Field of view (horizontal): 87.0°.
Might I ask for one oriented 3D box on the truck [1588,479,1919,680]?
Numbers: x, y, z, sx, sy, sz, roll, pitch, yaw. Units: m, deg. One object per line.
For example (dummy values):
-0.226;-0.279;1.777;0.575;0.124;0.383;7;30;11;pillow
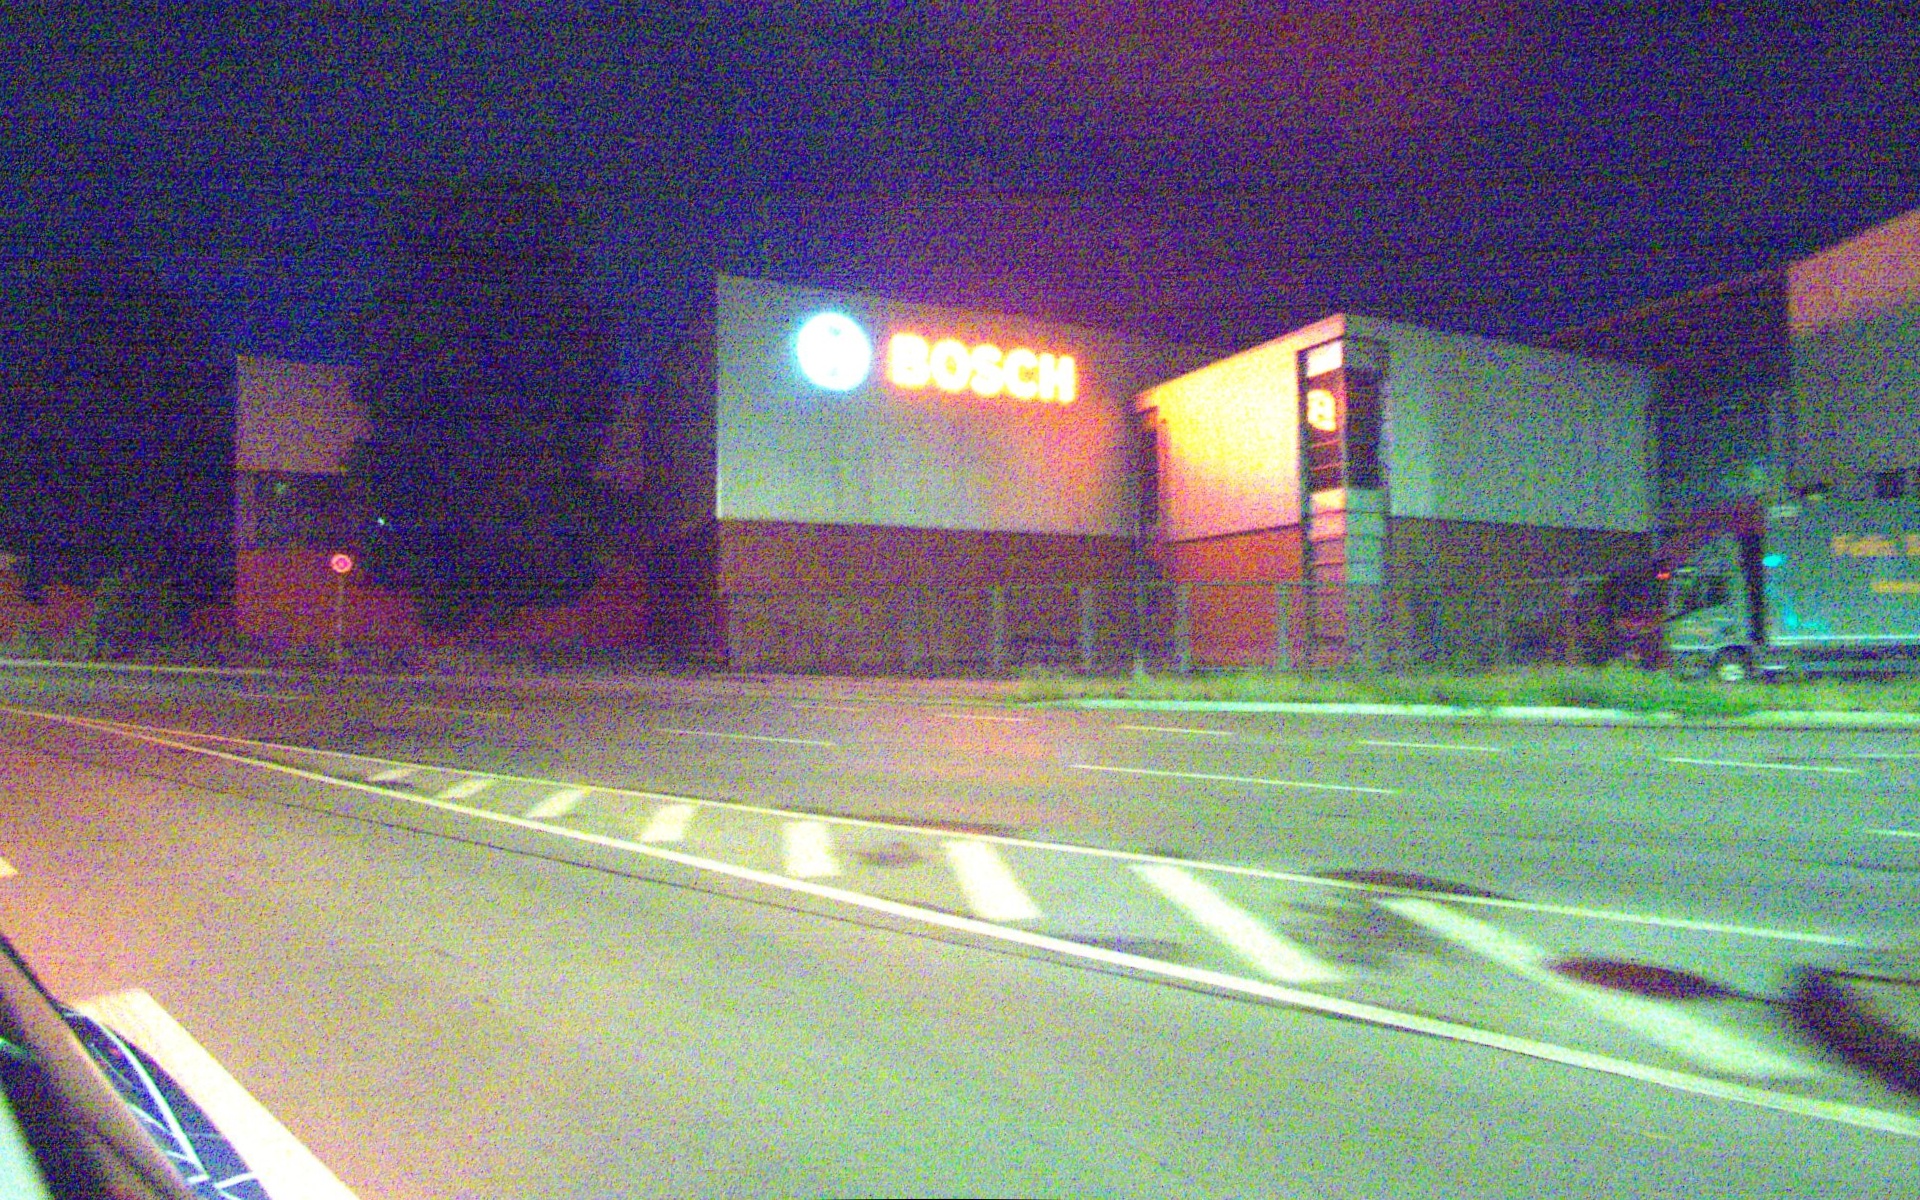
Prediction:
18.674;-0.373;20.716;9.443;3.825;2.941;0;-1;7;truck
